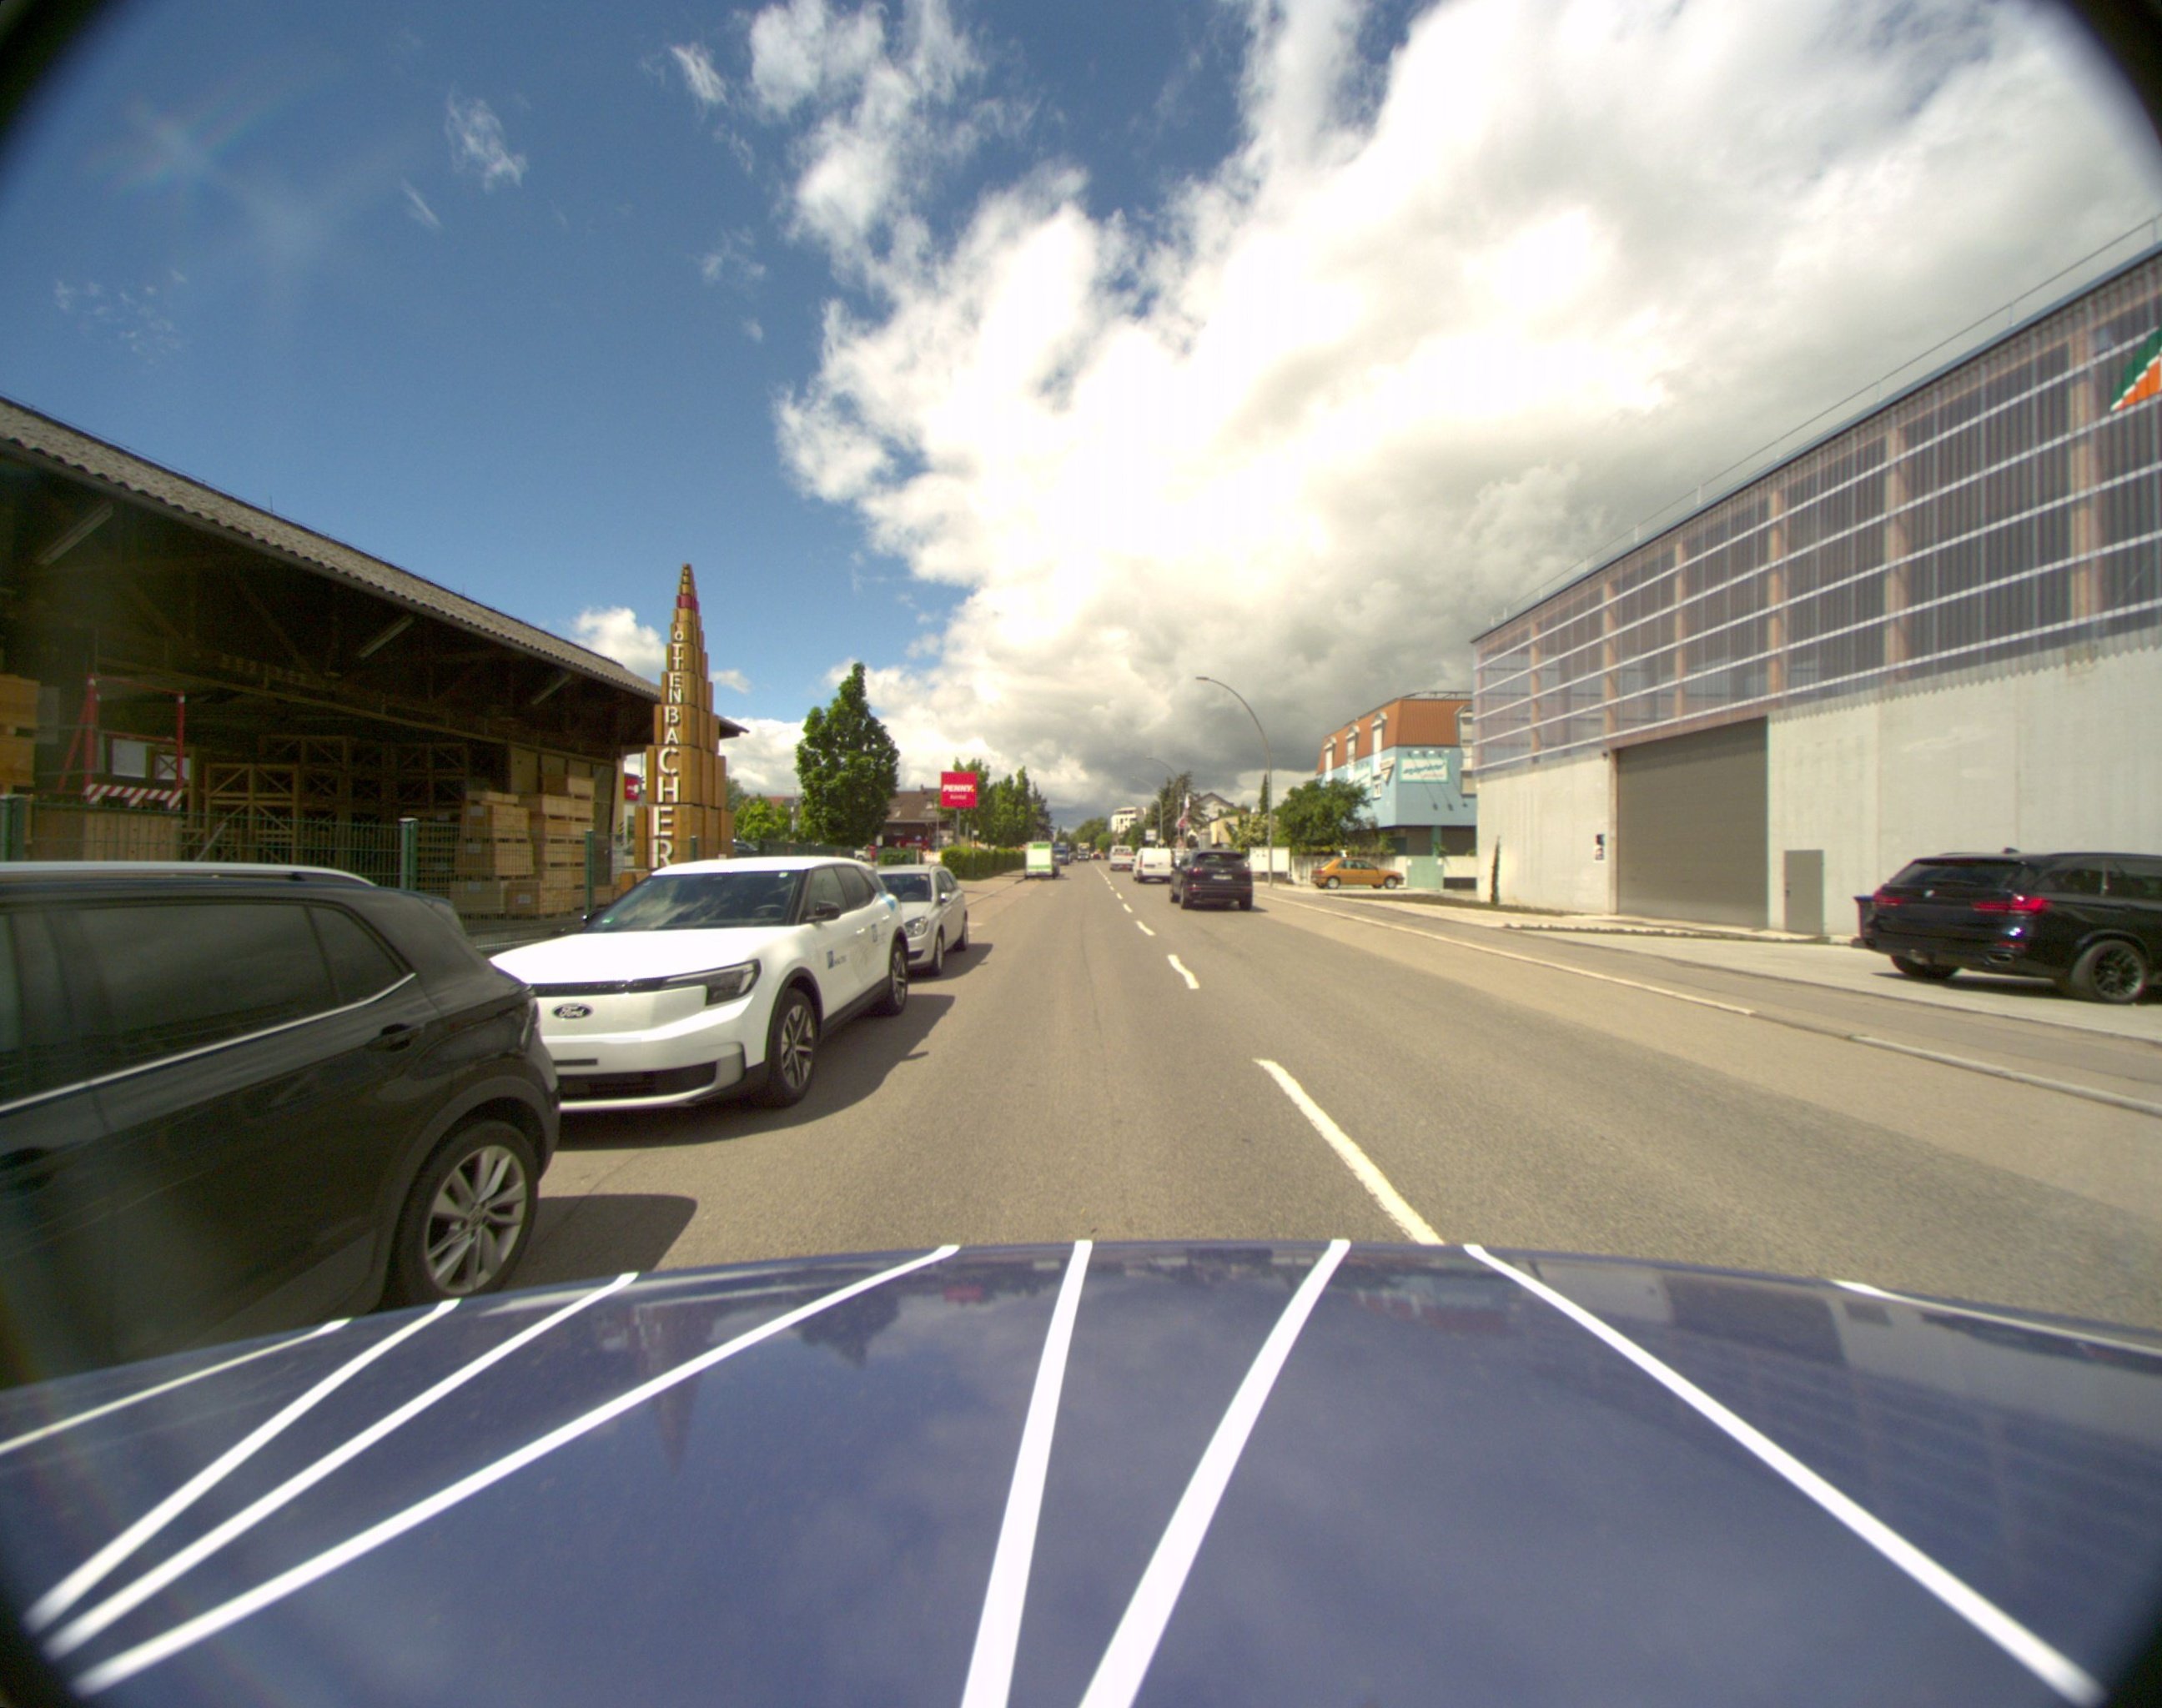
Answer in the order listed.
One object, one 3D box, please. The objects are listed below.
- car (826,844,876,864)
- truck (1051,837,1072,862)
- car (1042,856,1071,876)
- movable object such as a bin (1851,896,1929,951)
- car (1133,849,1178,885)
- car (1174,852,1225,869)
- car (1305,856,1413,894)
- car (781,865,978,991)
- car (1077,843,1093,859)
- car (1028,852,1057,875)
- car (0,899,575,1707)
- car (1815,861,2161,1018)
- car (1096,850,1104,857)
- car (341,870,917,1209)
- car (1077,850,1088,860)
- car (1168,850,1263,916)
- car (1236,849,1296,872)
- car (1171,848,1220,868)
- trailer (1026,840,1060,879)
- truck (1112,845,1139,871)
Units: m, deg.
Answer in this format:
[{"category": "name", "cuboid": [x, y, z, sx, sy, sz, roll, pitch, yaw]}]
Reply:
[{"category": "car", "cuboid": [-21.279, -0.014, 70.447, 3.997, 1.696, 2.000, -2, 0, -2]}, {"category": "truck", "cuboid": [-2.513, -0.572, 98.746, 2.326, 3.079, 6.042, -2, 0, 1]}, {"category": "car", "cuboid": [-1.918, 0.924, 60.458, 1.946, 1.562, 4.446, 0, 0, 2]}, {"category": "movable object such as a bin", "cuboid": [15.937, 1.358, 14.983, 0.745, 1.024, 0.712, 1, 0, 2]}, {"category": "car", "cuboid": [4.053, 0.685, 42.179, 1.999, 1.877, 5.116, 0, 0, 0]}, {"category": "car", "cuboid": [10.978, 0.602, 70.557, 4.385, 1.470, 1.871, 0, 1, 1]}, {"category": "car", "cuboid": [12.481, 0.940, 34.259, 4.161, 1.483, 1.825, -2, 0, -3]}, {"category": "car", "cuboid": [-2.732, 0.929, 11.366, 1.796, 1.441, 4.363, 1, 0, 0]}, {"category": "car", "cuboid": [0.884, -0.671, 177.131, 3.263, 3.595, 10.269, -1, -1, -1]}, {"category": "car", "cuboid": [-2.644, 0.652, 53.601, 1.947, 1.562, 4.445, 0, 0, -2]}, {"category": "car", "cuboid": [-2.829, 0.955, 1.054, 1.694, 1.543, 4.084, 0, 0, -3]}, {"category": "car", "cuboid": [12.405, 1.015, 9.378, 4.639, 1.623, 2.197, 3, 0, -3]}, {"category": "car", "cuboid": [4.714, -0.138, 190.444, 1.999, 1.606, 4.411, 1, 0, 0]}, {"category": "car", "cuboid": [-2.677, 0.947, 5.961, 1.796, 1.543, 4.573, 1, 0, 0]}, {"category": "car", "cuboid": [0.205, 0.220, 130.537, 1.891, 1.708, 4.000, 1, 0, 0]}, {"category": "car", "cuboid": [3.802, 0.769, 22.289, 1.998, 1.723, 4.548, 1, 0, 0]}, {"category": "car", "cuboid": [12.389, 0.434, 51.076, 3.636, 1.524, 1.980, 0, 0, 2]}, {"category": "car", "cuboid": [11.767, 0.426, 78.163, 4.664, 1.960, 2.115, 0, 0, -3]}, {"category": "trailer", "cuboid": [-2.327, 0.318, 47.233, 1.946, 2.281, 4.445, 0, 0, -1]}, {"category": "truck", "cuboid": [3.966, 0.341, 68.731, 2.324, 2.166, 6.450, 1, 0, 2]}]
